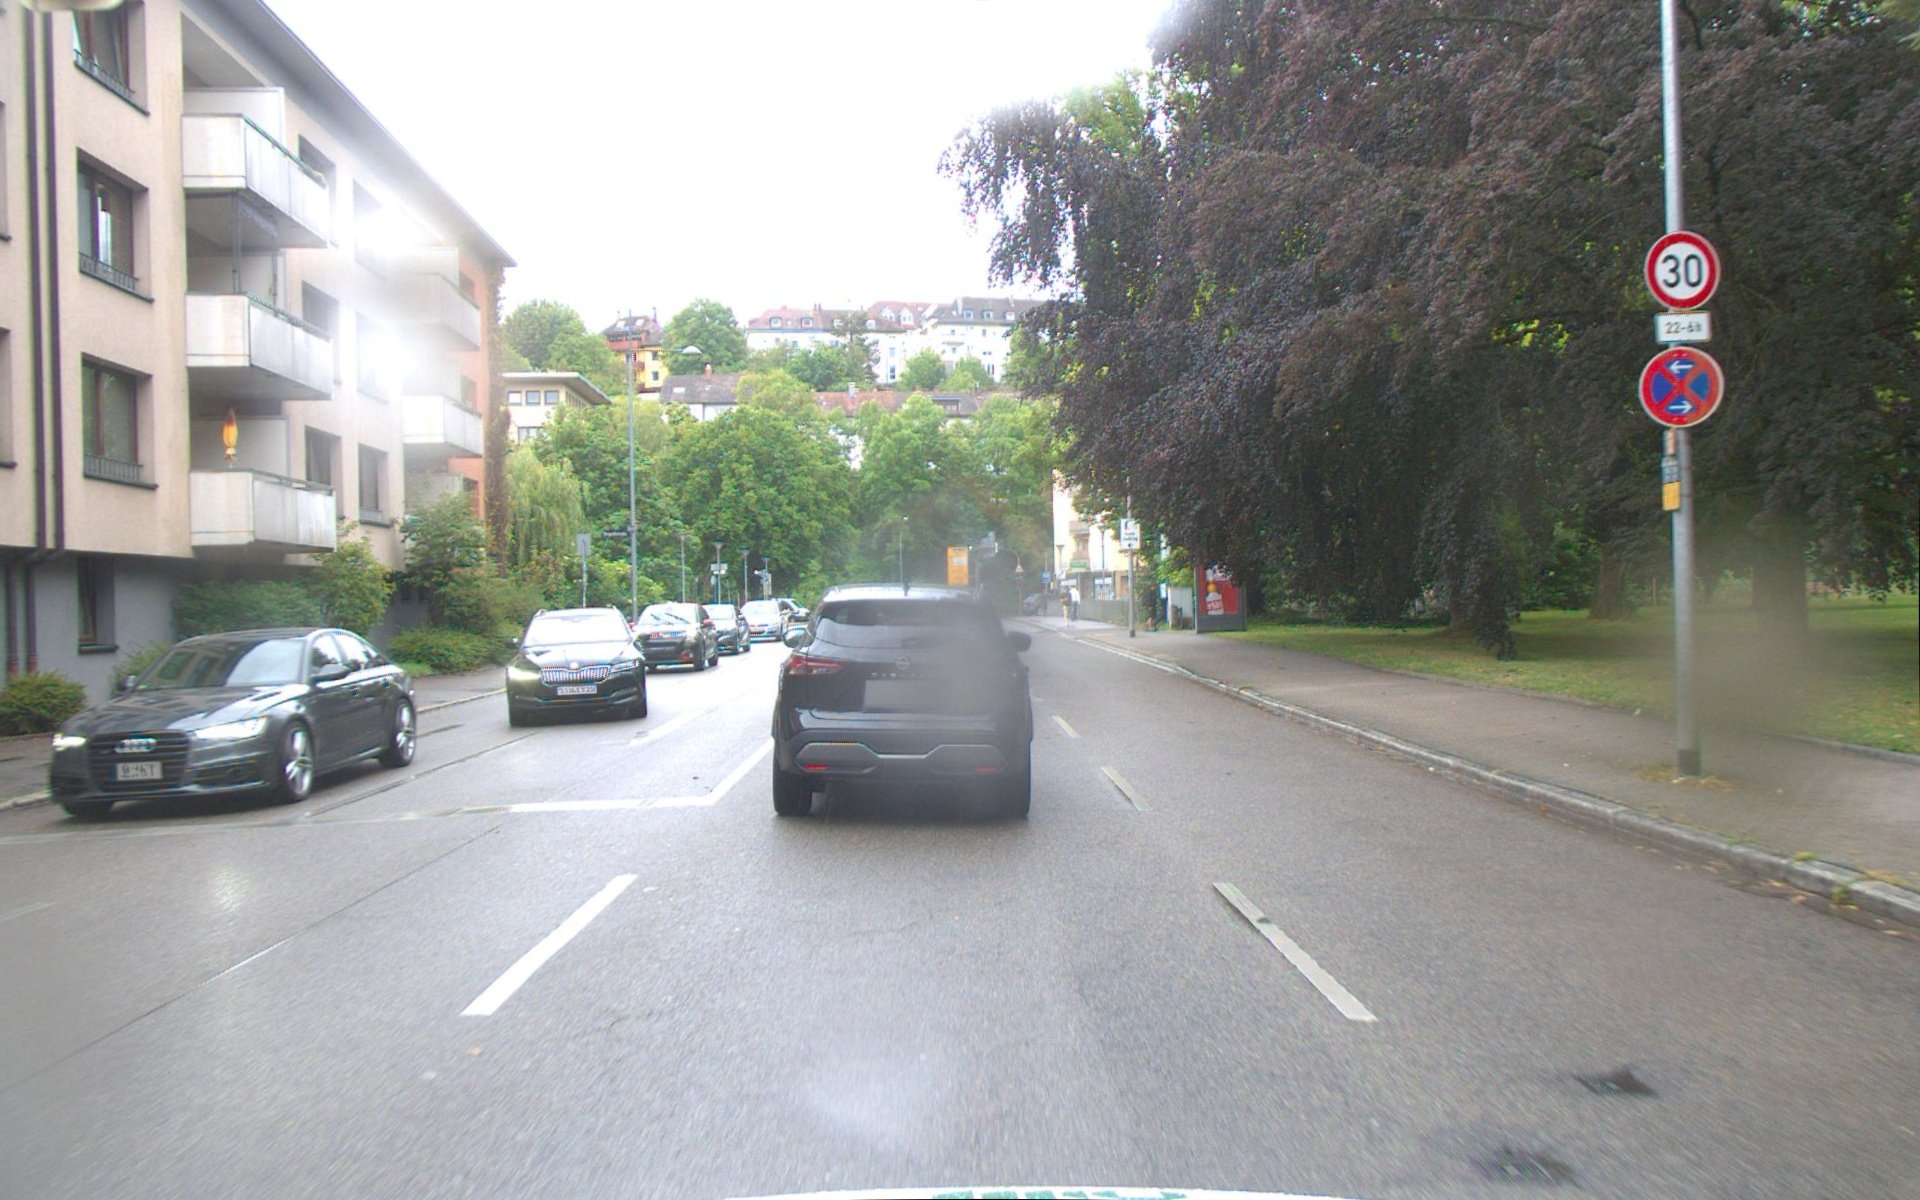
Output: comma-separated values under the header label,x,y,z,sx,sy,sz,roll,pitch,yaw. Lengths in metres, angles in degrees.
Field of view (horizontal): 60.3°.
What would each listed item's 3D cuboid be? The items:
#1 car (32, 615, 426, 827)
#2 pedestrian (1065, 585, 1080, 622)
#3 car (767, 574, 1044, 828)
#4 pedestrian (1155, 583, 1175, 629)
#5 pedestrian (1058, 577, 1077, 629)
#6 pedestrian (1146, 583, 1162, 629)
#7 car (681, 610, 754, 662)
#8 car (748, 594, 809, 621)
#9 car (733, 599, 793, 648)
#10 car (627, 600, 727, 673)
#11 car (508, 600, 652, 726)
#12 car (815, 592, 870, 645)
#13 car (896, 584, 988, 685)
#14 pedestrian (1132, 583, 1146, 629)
label,x,y,z,sx,sy,sz,roll,pitch,yaw
car,-6.311,0.949,14.854,1.740,1.495,4.215,-3,0,-2
pedestrian,5.650,0.172,83.213,0.606,1.810,0.778,-2,0,-1
car,-0.388,0.681,12.711,1.769,1.618,3.999,1,-1,-1
pedestrian,7.587,0.228,61.111,0.684,1.680,0.629,1,-1,11
pedestrian,4.625,0.118,71.215,0.752,2.222,0.711,1,-1,2
pedestrian,7.095,0.213,60.465,0.533,1.680,0.490,1,-1,11
car,-6.983,1.012,47.945,1.643,1.318,3.750,-3,0,-2
car,-15.089,0.623,137.667,4.537,2.035,2.002,-2,0,10
car,-7.157,0.847,60.355,1.714,1.662,3.634,-2,0,-1
car,-6.391,0.784,37.782,1.643,1.495,4.215,-3,0,-2
car,-5.311,0.812,23.063,1.718,1.495,4.202,-3,0,-14
car,-4.278,0.655,60.485,1.728,1.788,3.634,-2,0,-1
car,-0.309,0.616,31.497,1.588,1.738,3.771,-2,0,0
pedestrian,6.570,0.208,60.639,0.465,1.680,0.490,1,-1,11
